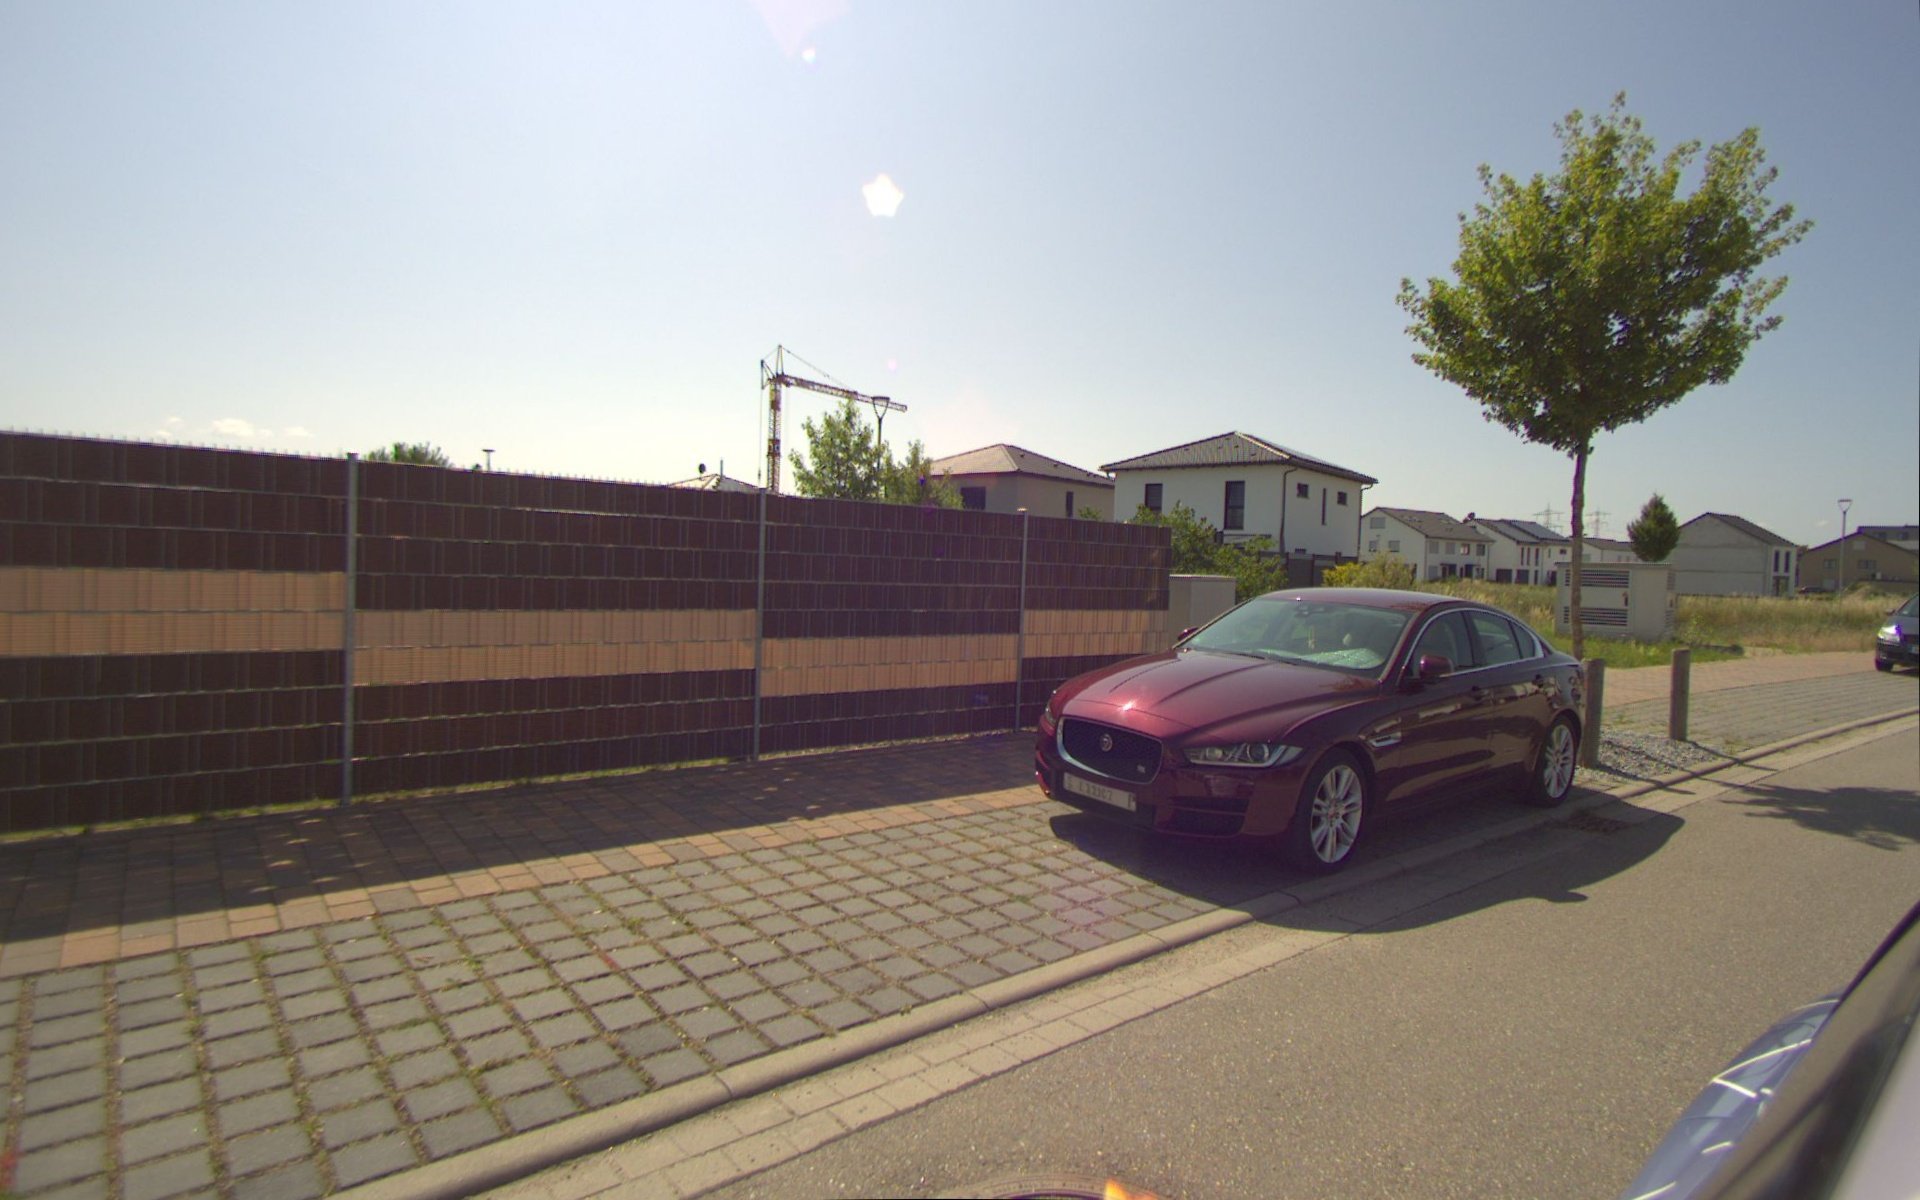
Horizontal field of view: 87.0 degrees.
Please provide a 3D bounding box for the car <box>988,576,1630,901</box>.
[{"bbox_3d":[2.478,0.592,6.559,4.492,1.380,1.760,0,3,-38],"label":"car"}]

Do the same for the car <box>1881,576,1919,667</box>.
[{"bbox_3d":[17.590,0.397,17.554,3.605,1.492,1.604,0,4,-36],"label":"car"}]
